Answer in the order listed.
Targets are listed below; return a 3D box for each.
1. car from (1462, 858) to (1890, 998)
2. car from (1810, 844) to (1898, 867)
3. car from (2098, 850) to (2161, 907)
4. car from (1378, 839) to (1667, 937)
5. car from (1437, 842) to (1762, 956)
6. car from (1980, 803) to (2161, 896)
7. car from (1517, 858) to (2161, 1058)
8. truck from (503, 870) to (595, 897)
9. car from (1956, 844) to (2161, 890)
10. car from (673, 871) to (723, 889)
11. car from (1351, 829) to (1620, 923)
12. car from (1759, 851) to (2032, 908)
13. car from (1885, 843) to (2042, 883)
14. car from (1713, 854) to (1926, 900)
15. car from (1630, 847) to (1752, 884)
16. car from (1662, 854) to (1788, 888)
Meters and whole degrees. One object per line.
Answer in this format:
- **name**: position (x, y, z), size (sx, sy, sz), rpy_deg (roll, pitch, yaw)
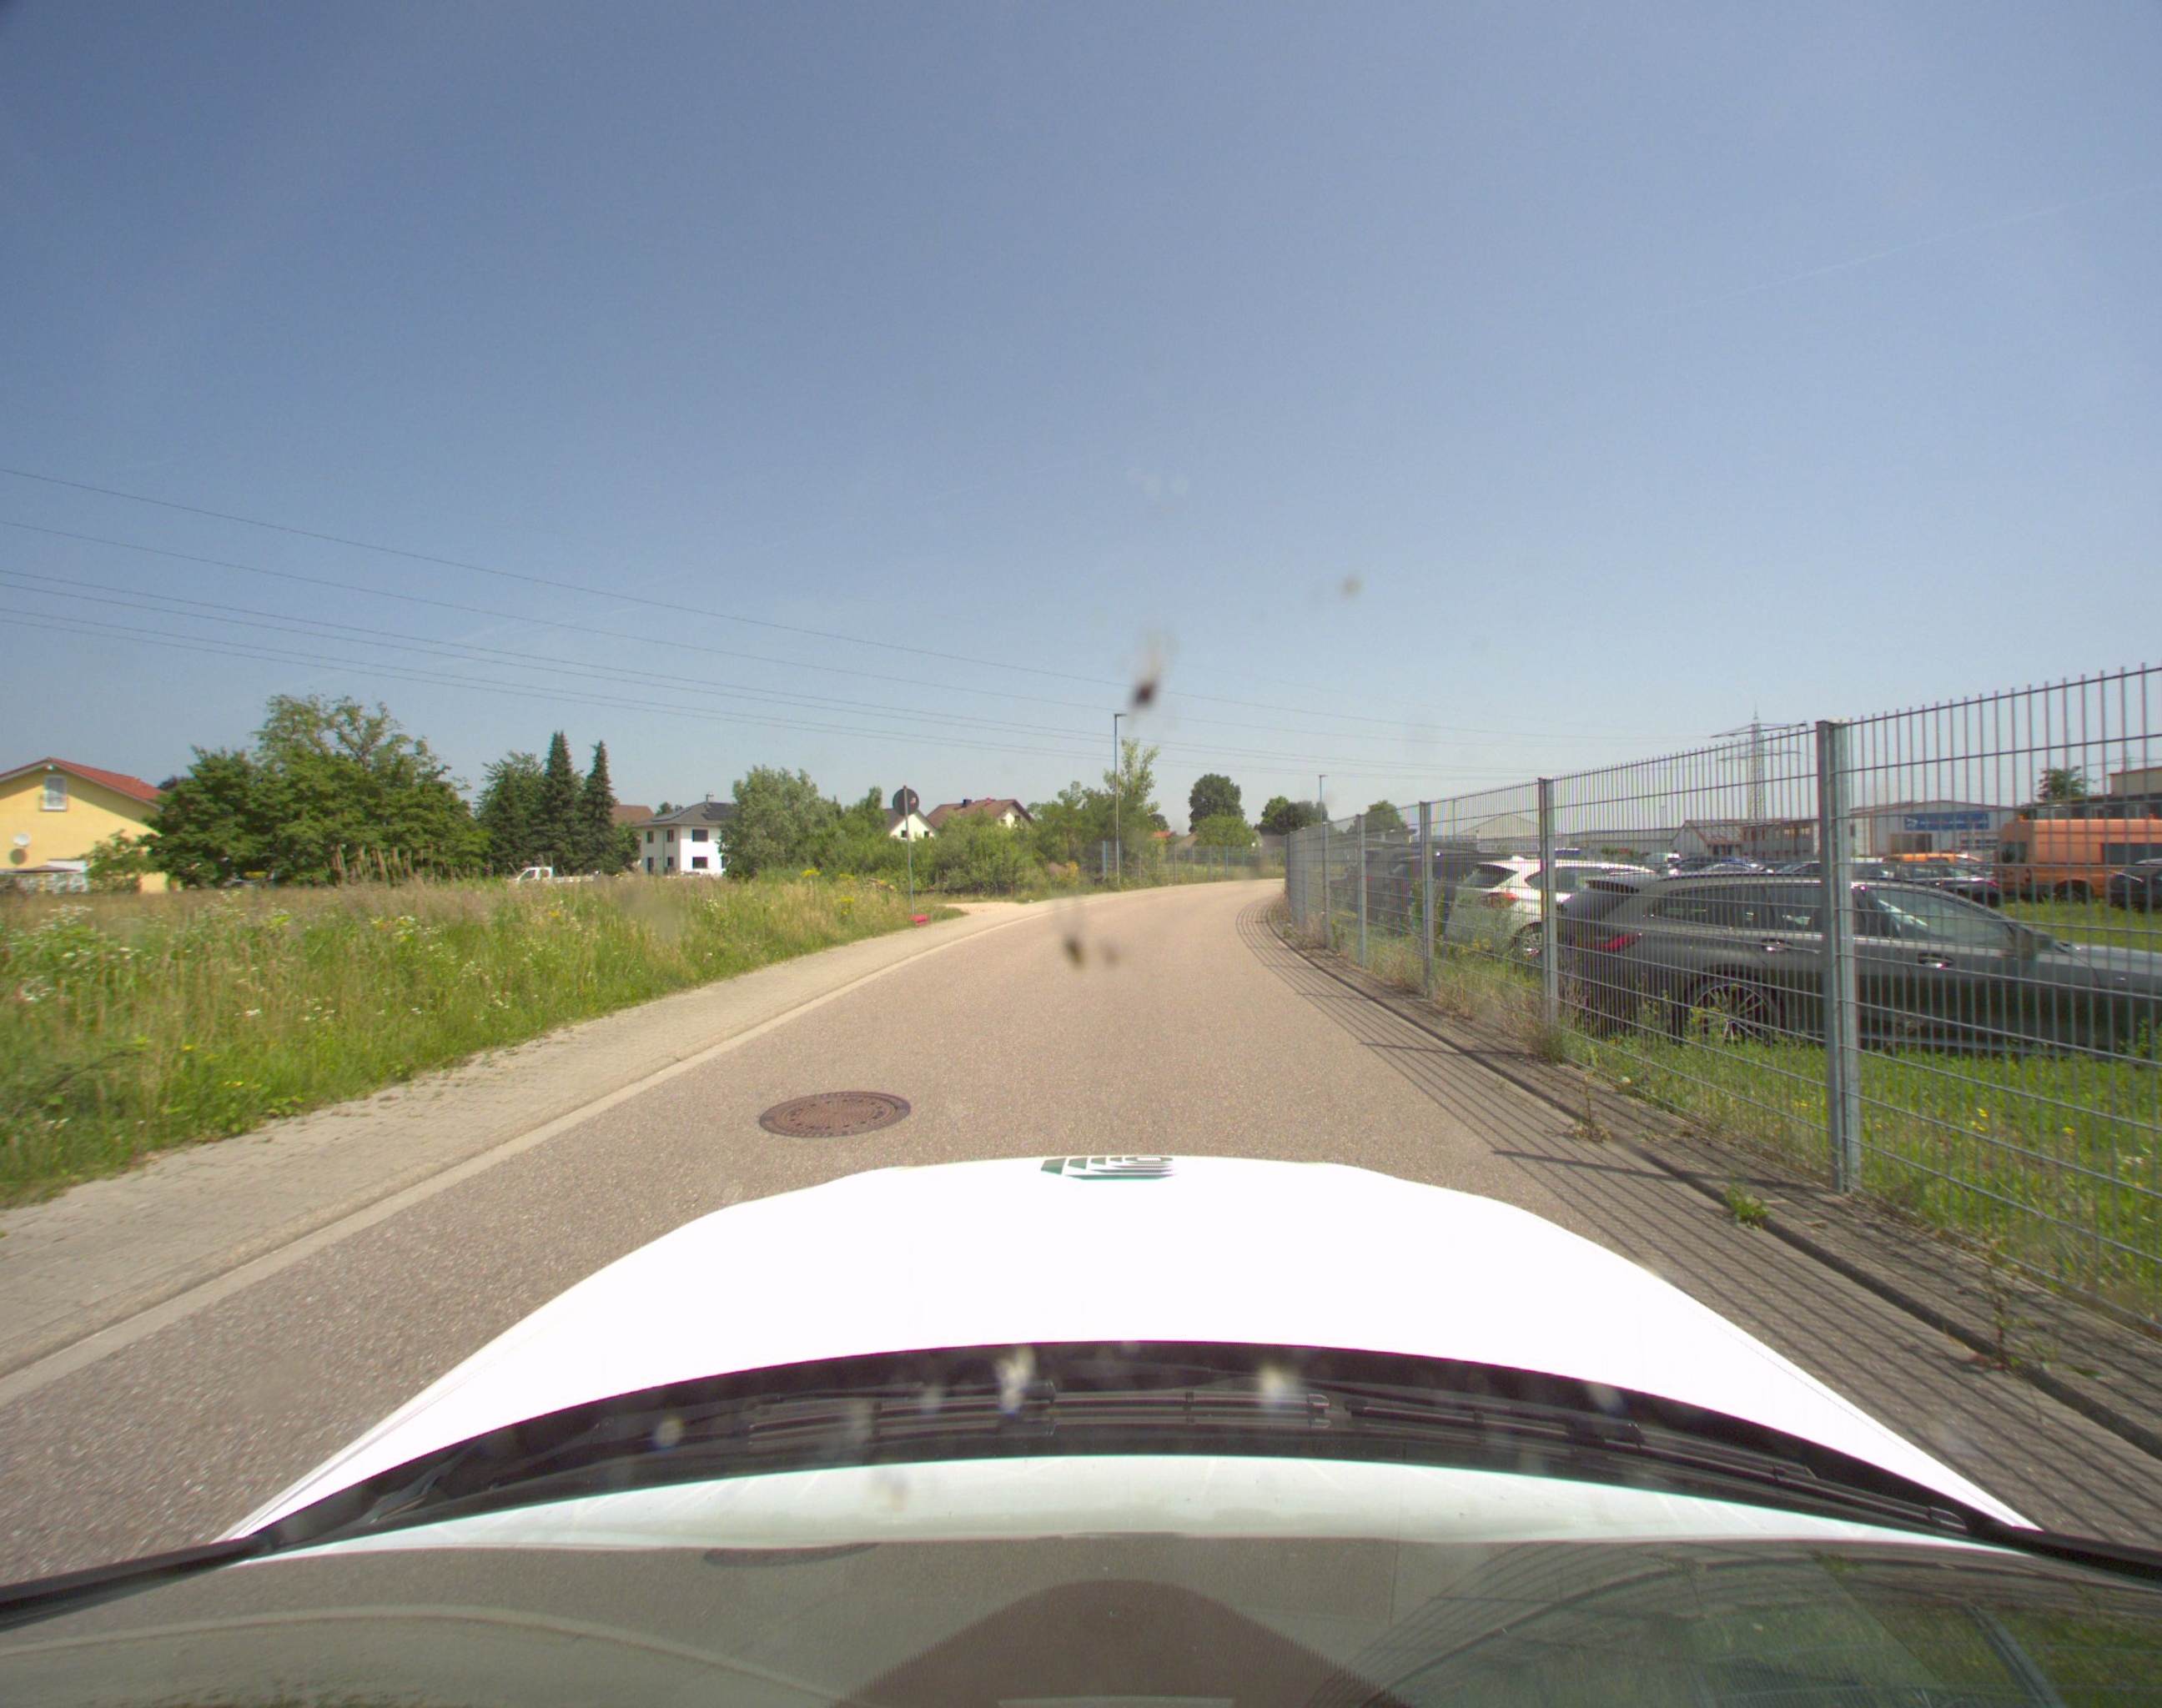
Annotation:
- **car**: position (6.236, 0.741, 8.974), size (3.440, 1.317, 1.648), rpy_deg (-1, 0, 15)
- **car**: position (64.940, 0.171, 68.495), size (5.013, 1.899, 1.868), rpy_deg (0, -1, 26)
- **car**: position (27.204, 0.533, 18.762), size (4.335, 1.269, 1.832), rpy_deg (-1, 0, 25)
- **car**: position (7.775, 0.601, 14.712), size (4.270, 1.603, 1.696), rpy_deg (-1, 0, 8)
- **car**: position (6.926, 0.591, 11.193), size (3.445, 1.417, 1.520), rpy_deg (-1, 0, 8)
- **car**: position (30.221, -0.122, 23.919), size (4.688, 2.584, 1.992), rpy_deg (-1, 0, 25)
- **car**: position (6.190, 0.739, 6.641), size (4.343, 1.317, 1.726), rpy_deg (-1, 0, 14)
- **truck**: position (-43.266, 2.369, 66.365), size (2.093, 2.010, 5.926), rpy_deg (-1, -1, 42)
- **car**: position (31.827, 0.425, 26.384), size (4.335, 1.378, 1.853), rpy_deg (-1, 0, 25)
- **car**: position (-39.258, 2.627, 83.456), size (4.278, 1.694, 1.976), rpy_deg (-1, 0, -41)
- **car**: position (8.140, 0.459, 16.824), size (4.655, 1.769, 1.748), rpy_deg (-1, 0, 11)
- **car**: position (21.095, 0.664, 21.393), size (4.701, 1.352, 1.832), rpy_deg (-1, 0, 25)
- **car**: position (34.040, 0.345, 31.532), size (3.782, 1.461, 1.598), rpy_deg (-1, 0, 25)
- **car**: position (23.422, 0.732, 26.092), size (4.701, 1.352, 1.832), rpy_deg (-1, 0, 25)
- **car**: position (28.888, 0.568, 38.779), size (4.418, 1.649, 1.889), rpy_deg (-1, 0, 29)
- **car**: position (26.194, 0.680, 33.267), size (3.727, 1.301, 1.621), rpy_deg (-1, 0, 25)
